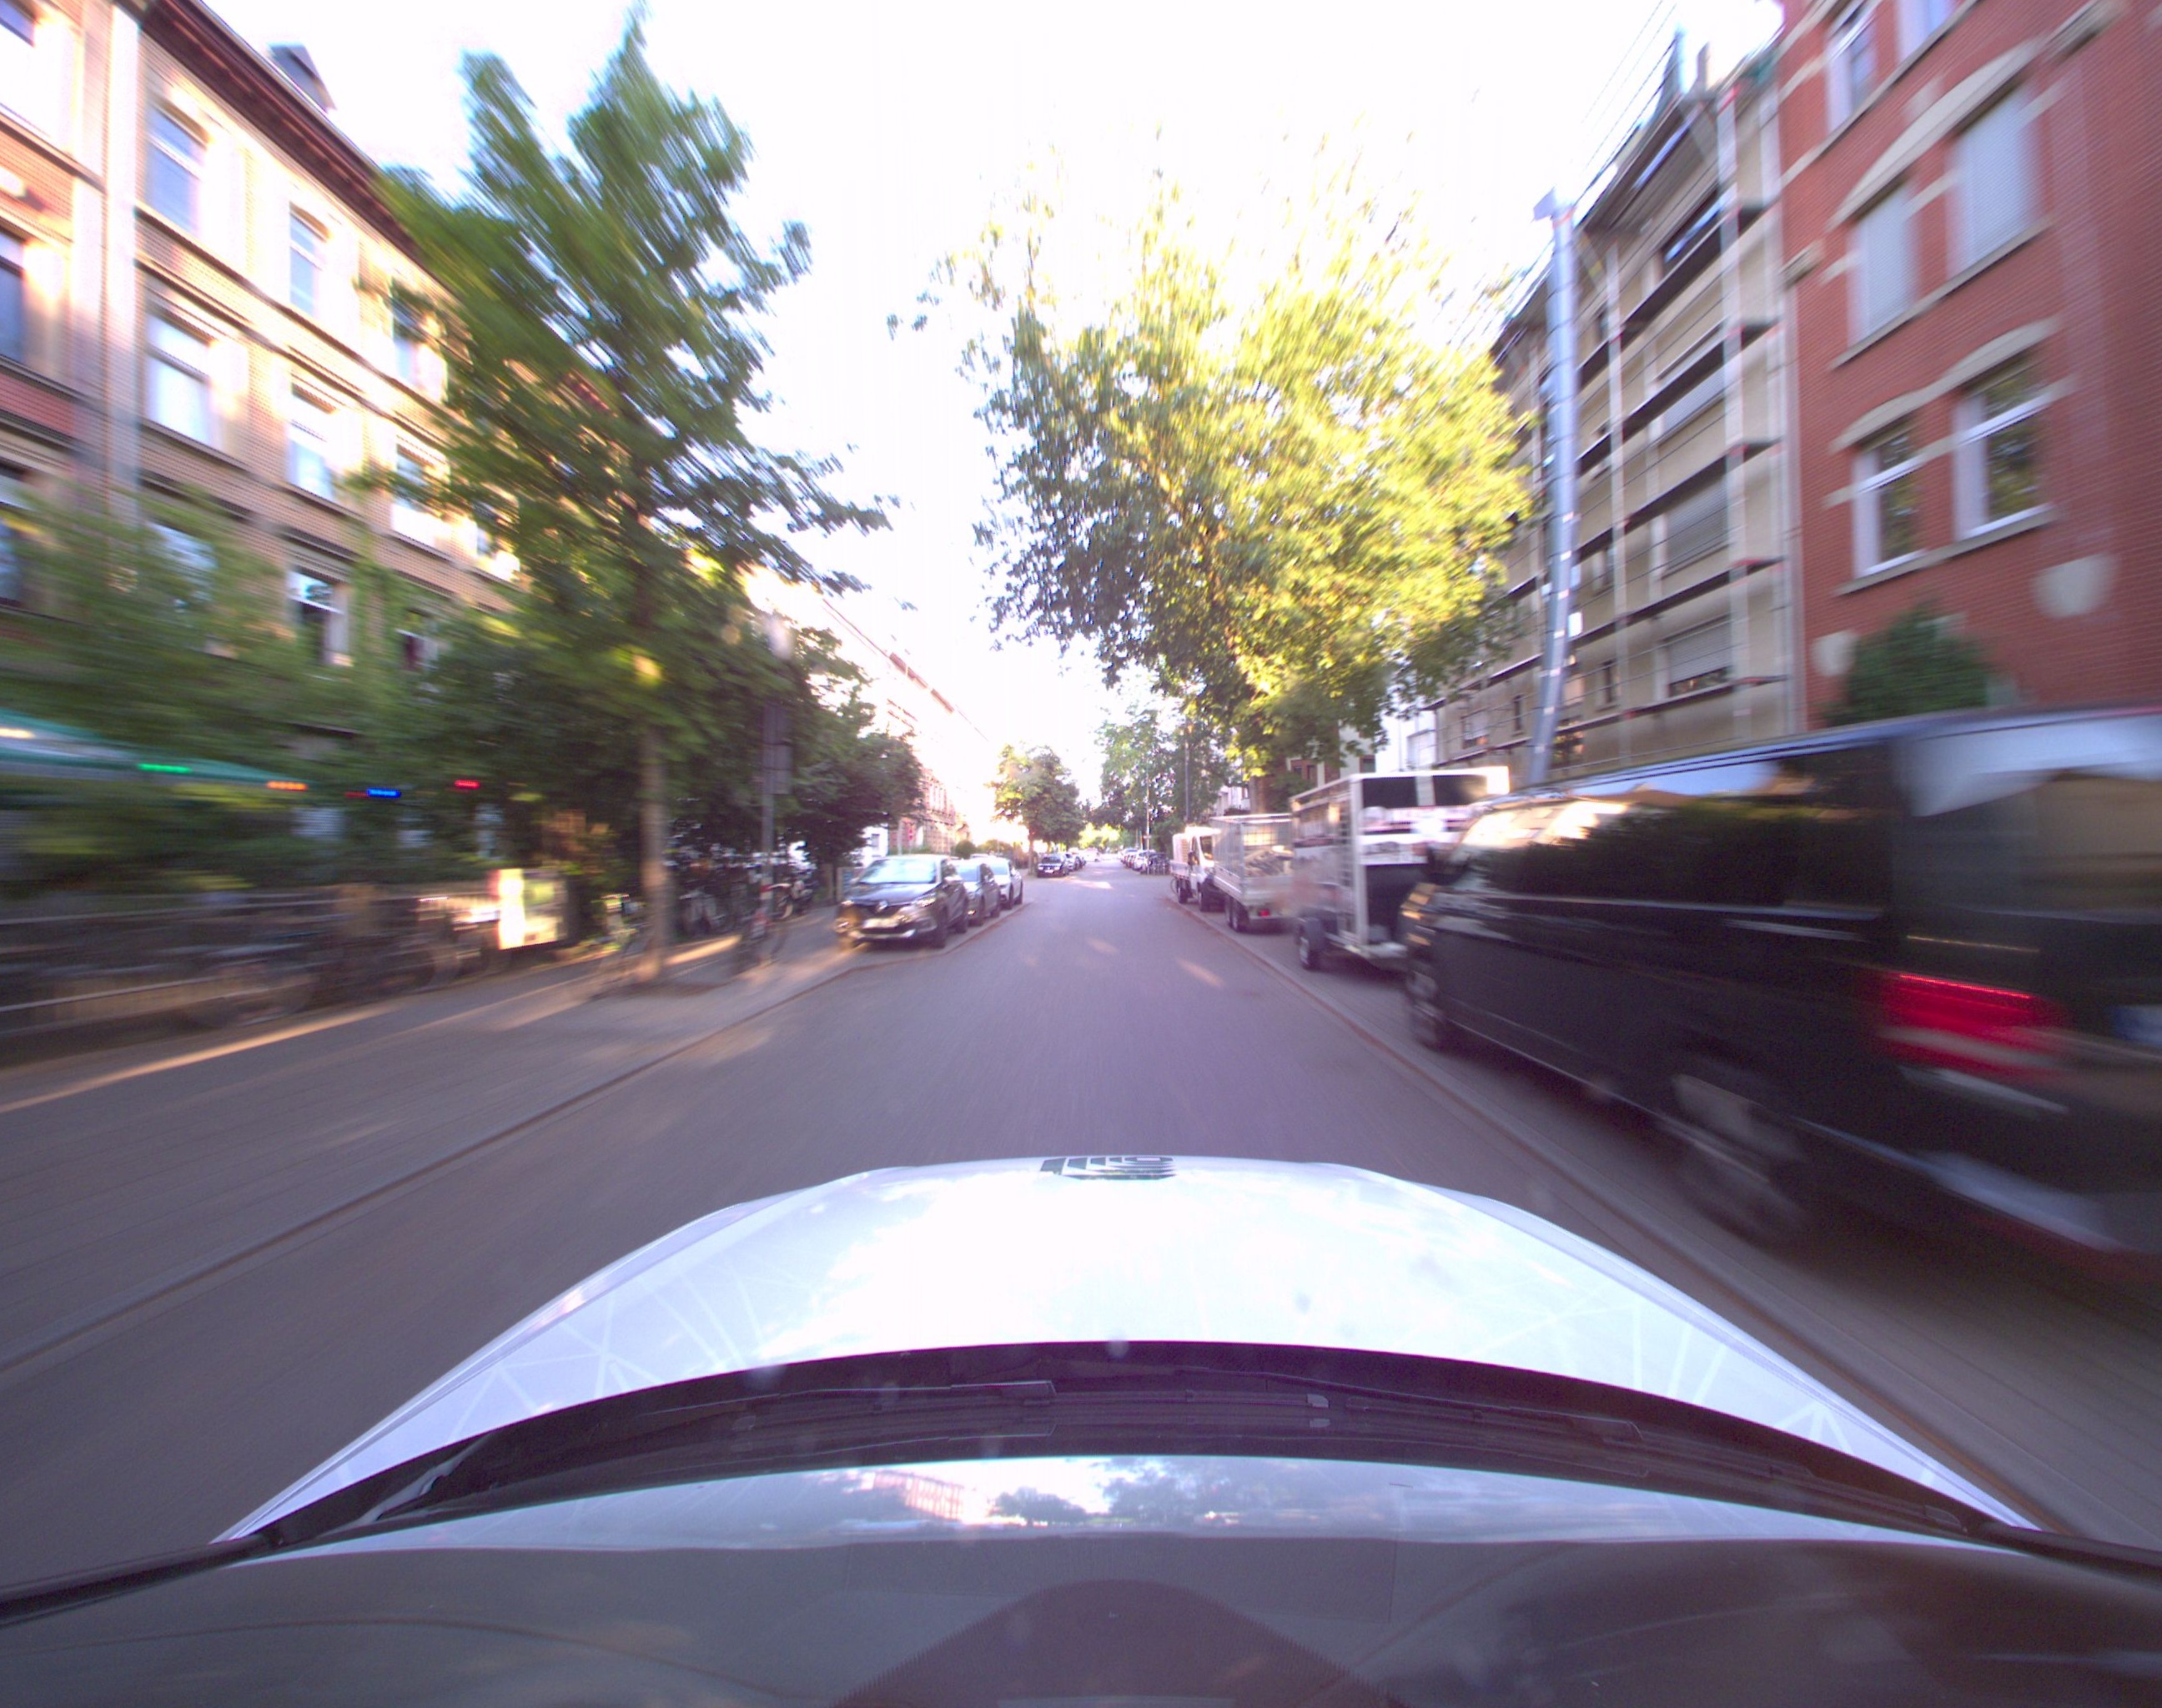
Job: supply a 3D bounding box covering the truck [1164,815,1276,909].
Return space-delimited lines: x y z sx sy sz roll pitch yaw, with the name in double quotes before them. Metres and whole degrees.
"truck" 3.765 0.205 23.358 1.971 2.244 6.774 -1 0 0

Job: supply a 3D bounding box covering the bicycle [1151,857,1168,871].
"bicycle" 5.449 0.682 56.540 1.230 0.951 0.327 -2 1 -26

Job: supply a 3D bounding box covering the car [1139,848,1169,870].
"car" 5.358 0.349 60.073 1.682 1.592 3.656 -1 0 -2

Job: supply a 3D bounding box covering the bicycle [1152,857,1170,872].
"bicycle" 5.511 0.721 55.925 1.228 0.947 0.328 -2 1 -21

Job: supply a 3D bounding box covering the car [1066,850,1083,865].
"car" -0.692 0.348 91.549 1.709 1.596 4.521 -1 0 2

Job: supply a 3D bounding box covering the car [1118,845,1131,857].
"car" 6.926 -0.464 130.197 1.682 1.811 3.938 -1 0 -1

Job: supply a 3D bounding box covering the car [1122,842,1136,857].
"car" 6.458 -0.643 109.520 1.675 1.941 3.879 -1 0 -1

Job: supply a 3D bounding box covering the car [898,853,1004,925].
"car" -2.938 0.739 19.290 1.683 1.502 4.403 0 0 1

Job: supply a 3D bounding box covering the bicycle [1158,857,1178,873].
"bicycle" 5.752 0.719 53.906 1.220 0.987 0.330 -2 1 -1

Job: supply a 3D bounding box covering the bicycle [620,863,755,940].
"bicycle" -7.320 0.841 15.340 0.600 1.284 2.499 -2 0 22

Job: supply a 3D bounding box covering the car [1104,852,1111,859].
"car" 6.716 0.346 206.832 1.806 1.596 3.484 -1 0 2

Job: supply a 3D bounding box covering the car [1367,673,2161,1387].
"car" 3.358 0.415 4.564 1.833 1.942 4.614 -4 1 1

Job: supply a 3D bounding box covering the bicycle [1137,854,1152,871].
"bicycle" 4.404 0.583 56.783 0.439 1.173 1.646 -1 0 27

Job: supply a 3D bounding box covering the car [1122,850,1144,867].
"car" 4.846 0.413 76.175 1.682 1.606 3.747 -1 0 -1

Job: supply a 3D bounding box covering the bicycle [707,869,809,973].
"bicycle" -4.427 0.871 11.313 0.480 1.255 1.902 2 1 4

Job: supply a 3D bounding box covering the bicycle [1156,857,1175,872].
"bicycle" 5.709 0.696 54.819 1.226 0.963 0.329 -2 1 -16

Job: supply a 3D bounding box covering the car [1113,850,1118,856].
"car" 10.533 -0.304 248.964 1.709 1.596 3.484 -1 0 2

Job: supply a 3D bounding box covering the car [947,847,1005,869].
"car" -7.964 0.278 62.105 4.079 1.527 1.709 2 0 0

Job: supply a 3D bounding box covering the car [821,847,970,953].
"car" -3.109 0.682 14.525 1.685 1.563 4.401 1 1 -1

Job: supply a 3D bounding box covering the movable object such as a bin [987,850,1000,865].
"movable object such as a bin" -8.327 0.314 77.783 1.097 1.414 1.001 1 1 -12

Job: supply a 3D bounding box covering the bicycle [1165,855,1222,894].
"bicycle" 3.993 0.720 28.924 1.899 1.258 0.406 -4 0 -4

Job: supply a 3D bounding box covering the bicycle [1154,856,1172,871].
"bicycle" 5.557 0.629 55.222 1.228 0.957 0.328 -2 1 -21

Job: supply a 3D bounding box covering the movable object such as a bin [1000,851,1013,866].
"movable object such as a bin" -7.091 0.420 77.926 1.007 1.321 1.007 1 1 6

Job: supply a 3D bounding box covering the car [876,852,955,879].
"car" -9.561 0.671 47.135 4.065 1.447 1.823 -1 1 11

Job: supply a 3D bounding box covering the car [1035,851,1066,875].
"car" -2.024 0.580 54.978 1.609 1.470 3.966 -1 0 4

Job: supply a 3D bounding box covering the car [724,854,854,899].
"car" -11.308 0.846 31.830 4.450 1.552 1.704 -2 1 -9

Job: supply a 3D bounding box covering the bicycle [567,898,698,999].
"bicycle" -5.079 1.027 9.345 0.414 0.929 1.736 1 1 4

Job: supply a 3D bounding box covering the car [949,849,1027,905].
"car" -2.768 0.635 25.196 1.683 1.502 4.740 1 1 2

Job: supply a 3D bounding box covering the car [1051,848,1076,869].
"car" -1.466 0.393 70.980 1.914 1.717 4.429 -1 0 2

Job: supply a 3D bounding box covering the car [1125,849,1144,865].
"car" 5.313 0.319 81.091 1.680 1.441 4.211 -3 0 1

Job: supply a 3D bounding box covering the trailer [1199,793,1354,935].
"trailer" 3.683 0.154 16.269 1.947 2.295 4.646 -4 0 1

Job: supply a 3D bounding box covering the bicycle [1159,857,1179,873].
"bicycle" 5.859 0.713 54.272 1.221 0.987 0.330 -3 1 -2

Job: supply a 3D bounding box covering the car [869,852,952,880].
"car" -9.384 0.629 44.873 4.067 1.447 1.714 -1 1 10

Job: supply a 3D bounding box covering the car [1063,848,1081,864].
"car" -0.890 0.184 82.754 1.709 1.566 3.789 -1 0 2

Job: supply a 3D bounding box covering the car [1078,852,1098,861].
"car" 1.304 0.484 149.401 3.609 1.461 1.605 -1 0 -2

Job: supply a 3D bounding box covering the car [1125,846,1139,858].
"car" 6.583 -0.305 105.648 1.534 1.521 3.430 -1 0 -1

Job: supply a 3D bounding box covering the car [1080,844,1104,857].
"car" 2.071 -0.611 152.105 4.336 2.318 1.745 -1 0 0

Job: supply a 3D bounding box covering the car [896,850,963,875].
"car" -9.233 0.517 49.721 3.541 1.447 1.823 -1 1 10

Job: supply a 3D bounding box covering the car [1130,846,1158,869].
"car" 5.077 0.260 65.871 1.793 1.711 4.599 -2 0 -1

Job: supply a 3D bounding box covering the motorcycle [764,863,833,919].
"motorcycle" -6.883 0.862 19.988 0.580 1.156 2.893 1 1 2

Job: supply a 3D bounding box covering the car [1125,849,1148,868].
"car" 4.858 0.383 71.805 1.682 1.606 4.208 -1 0 -1

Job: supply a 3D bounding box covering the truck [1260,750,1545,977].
"truck" 3.863 0.063 10.817 1.947 2.246 4.646 -4 1 1

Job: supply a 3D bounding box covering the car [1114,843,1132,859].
"car" 4.571 -0.316 89.159 1.682 1.606 3.938 -1 0 -1

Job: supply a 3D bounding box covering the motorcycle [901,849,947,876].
"motorcycle" -10.185 0.545 52.735 2.835 1.638 0.677 -1 0 9

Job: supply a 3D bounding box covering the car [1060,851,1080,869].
"car" -0.993 0.533 75.396 1.709 1.566 3.782 -1 -1 2
